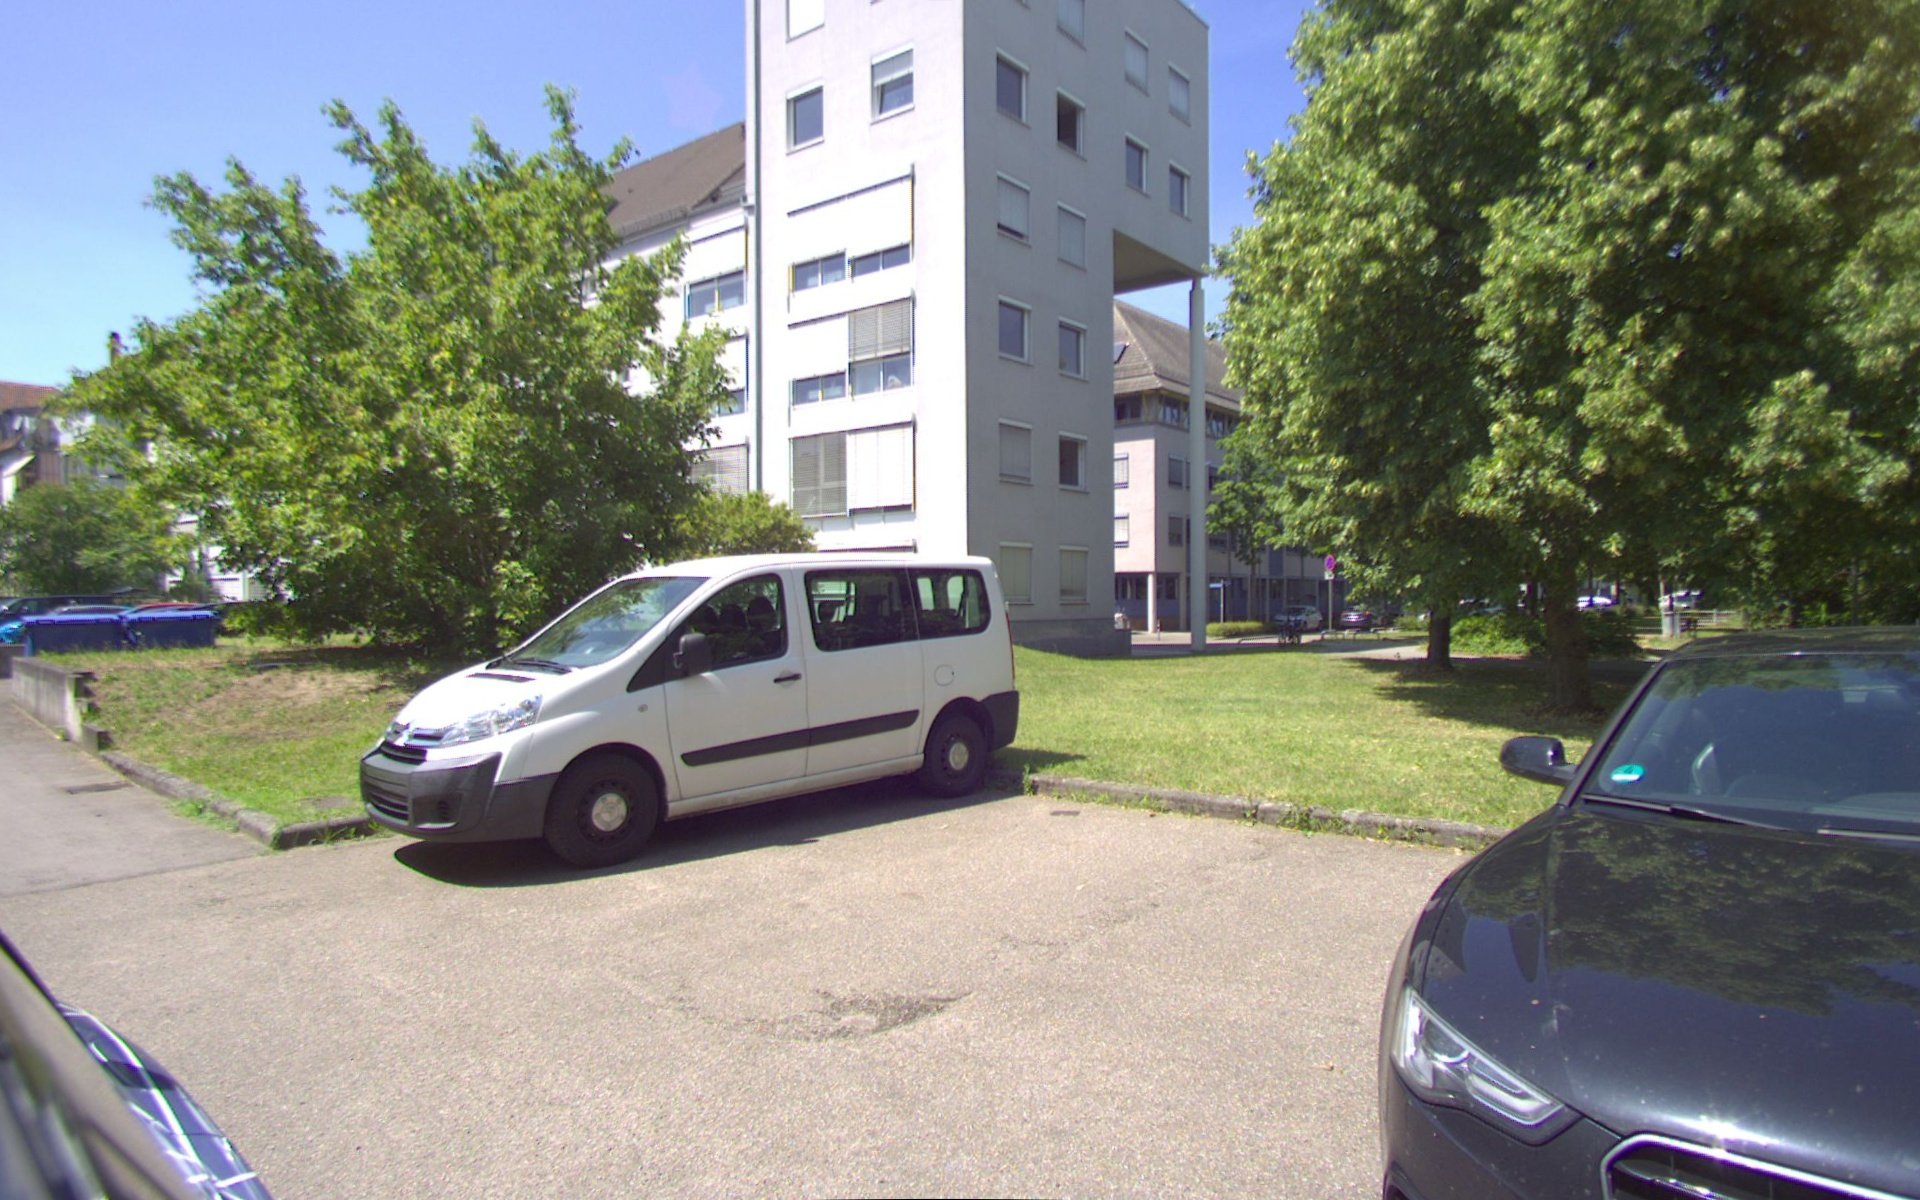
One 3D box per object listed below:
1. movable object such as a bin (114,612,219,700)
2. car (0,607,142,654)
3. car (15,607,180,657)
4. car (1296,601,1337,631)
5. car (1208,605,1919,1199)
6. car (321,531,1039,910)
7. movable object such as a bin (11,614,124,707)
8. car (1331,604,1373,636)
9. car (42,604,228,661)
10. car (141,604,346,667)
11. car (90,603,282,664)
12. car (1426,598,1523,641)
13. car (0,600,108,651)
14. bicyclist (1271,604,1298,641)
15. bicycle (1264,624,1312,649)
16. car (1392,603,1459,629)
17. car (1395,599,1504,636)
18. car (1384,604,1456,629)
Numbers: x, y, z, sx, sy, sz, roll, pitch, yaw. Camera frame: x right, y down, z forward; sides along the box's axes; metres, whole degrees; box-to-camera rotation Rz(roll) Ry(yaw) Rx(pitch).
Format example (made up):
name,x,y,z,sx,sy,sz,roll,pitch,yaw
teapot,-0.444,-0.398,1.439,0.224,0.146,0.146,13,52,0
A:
name,x,y,z,sx,sy,sz,roll,pitch,yaw
movable object such as a bin,-13.644,0.930,17.401,1.095,1.399,1.255,0,0,42
car,-32.815,1.071,37.059,1.610,1.580,4.173,0,0,36
car,-30.136,1.061,35.482,1.610,1.580,4.173,0,0,36
car,20.299,0.897,57.556,1.799,1.615,3.860,0,0,26
car,2.696,0.726,2.705,2.024,1.390,4.380,-3,-2,43
car,-1.719,0.584,7.532,2.068,1.897,4.794,0,0,43
movable object such as a bin,-14.468,0.938,16.418,1.095,1.399,1.255,0,0,42
car,21.562,1.070,55.588,1.799,1.615,3.860,0,0,26
car,-25.220,0.930,31.057,1.610,1.580,4.173,0,0,36
car,-19.797,0.913,28.137,1.610,1.580,4.393,0,0,36
car,-22.327,0.906,29.349,1.610,1.580,4.173,0,0,36
car,25.686,0.927,50.577,3.996,2.029,1.974,0,0,40
car,-35.410,0.934,38.550,2.006,1.837,4.173,0,0,36
bicyclist,9.472,0.643,29.547,0.518,1.053,0.515,-4,-3,43
bicycle,9.638,1.071,29.711,0.734,0.646,1.594,-4,-2,42
car,31.411,1.059,68.295,3.891,1.643,1.514,0,0,40
car,23.118,0.800,47.874,4.337,1.622,1.908,0,0,40
car,29.936,1.058,65.906,3.996,1.541,1.723,0,0,40
